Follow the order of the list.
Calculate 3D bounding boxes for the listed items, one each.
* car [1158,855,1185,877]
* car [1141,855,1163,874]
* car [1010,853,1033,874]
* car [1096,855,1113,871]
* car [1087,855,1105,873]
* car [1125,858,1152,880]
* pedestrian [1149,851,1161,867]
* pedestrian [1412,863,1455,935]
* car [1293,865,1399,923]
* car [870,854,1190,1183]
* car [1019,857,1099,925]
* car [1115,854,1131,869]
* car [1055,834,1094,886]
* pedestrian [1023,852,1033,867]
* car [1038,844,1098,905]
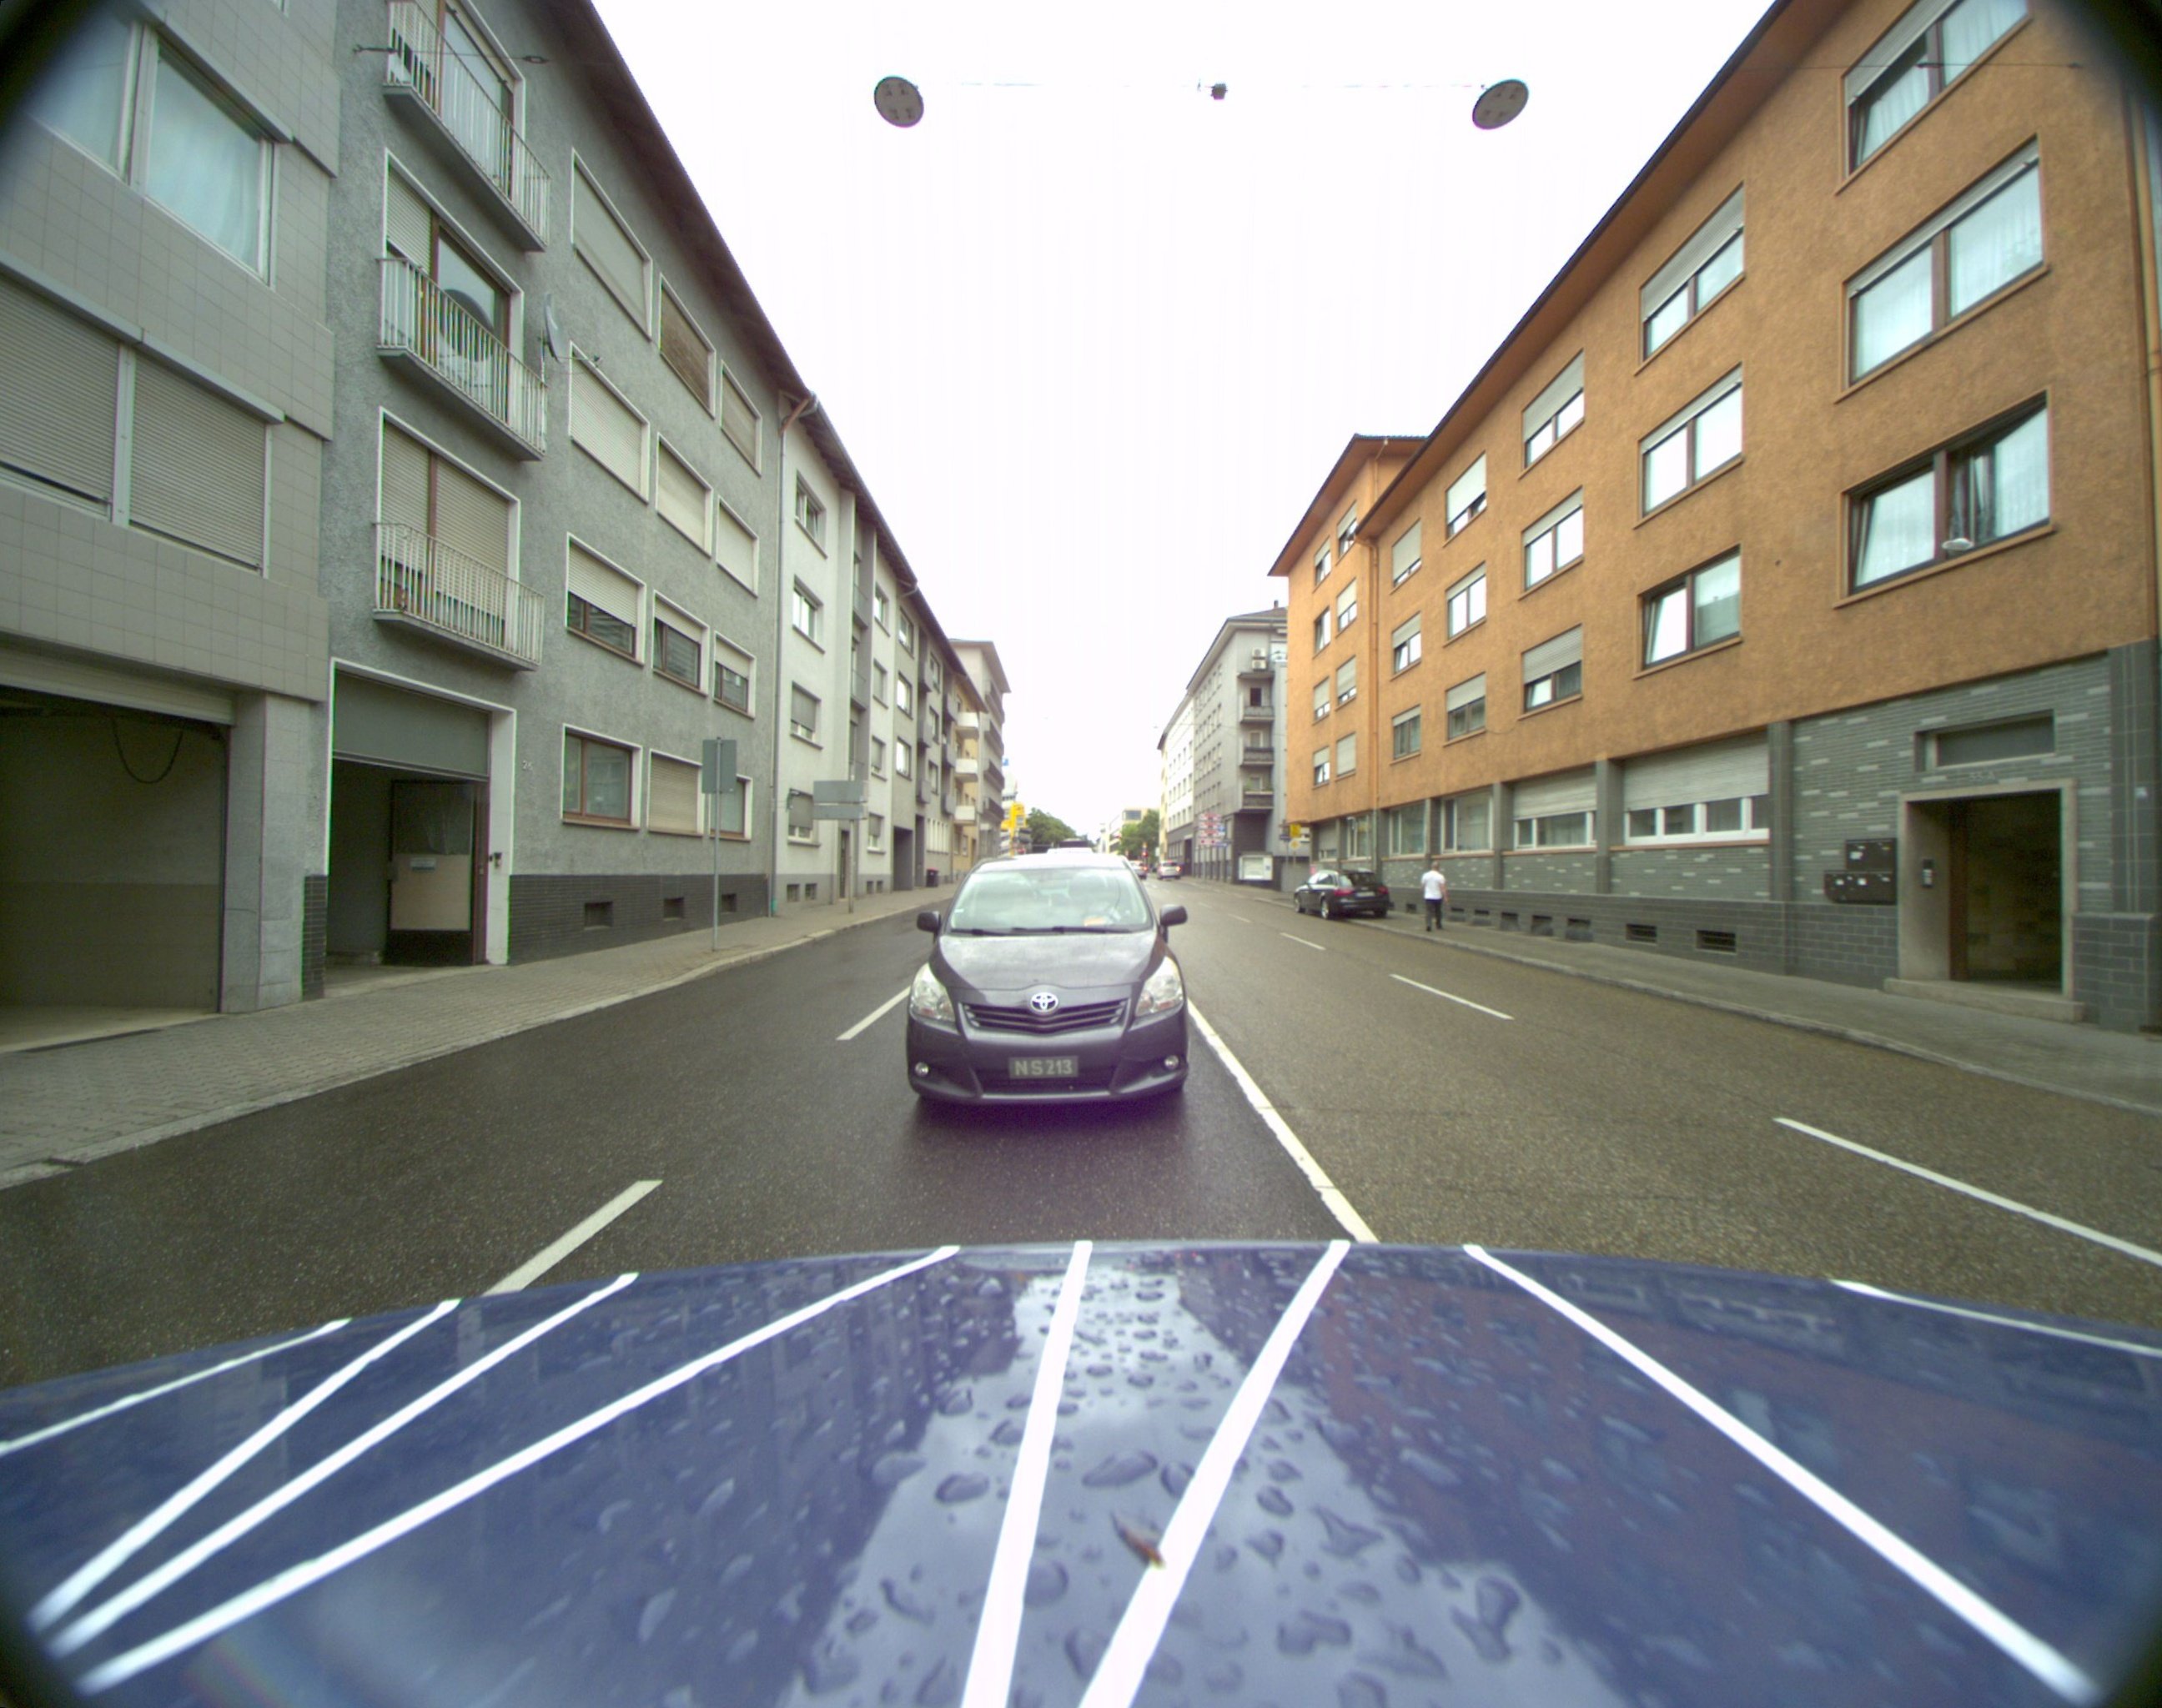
[{"bbox_3d":[7.819,1.000,65.784,1.856,1.712,4.217,-2,1,1],"label":"car"},{"bbox_3d":[7.260,1.070,77.708,1.856,1.712,4.217,-2,1,1],"label":"car"},{"bbox_3d":[-5.127,0.786,65.919,1.856,1.663,4.215,-2,1,-4],"label":"car"},{"bbox_3d":[2.848,1.066,92.818,1.856,1.712,4.217,-2,1,1],"label":"car"},{"bbox_3d":[1.581,1.053,80.358,1.856,1.712,4.217,-2,1,1],"label":"car"},{"bbox_3d":[4.723,1.218,63.161,1.856,1.651,4.610,-2,1,1],"label":"car"},{"bbox_3d":[9.299,0.635,95.208,1.309,2.002,1.258,-2,1,1],"label":"pedestrian"},{"bbox_3d":[8.432,1.064,18.228,0.767,1.630,1.024,-2,1,17],"label":"pedestrian"},{"bbox_3d":[8.045,1.157,23.492,1.799,1.466,4.217,-2,1,1],"label":"car"},{"bbox_3d":[-0.251,0.907,6.284,1.699,1.712,4.217,-2,1,1],"label":"car"},{"bbox_3d":[-0.503,0.897,20.128,1.856,1.524,3.792,-2,1,1],"label":"car"},{"bbox_3d":[5.358,0.920,97.397,1.856,1.712,4.217,-2,1,1],"label":"car"},{"bbox_3d":[-0.328,0.299,43.677,2.033,2.731,4.368,-2,1,1],"label":"car"},{"bbox_3d":[-6.377,0.669,91.684,1.119,1.741,0.961,1,1,-5],"label":"pedestrian"},{"bbox_3d":[-0.394,0.640,26.633,1.856,1.882,4.217,-2,1,1],"label":"car"}]
